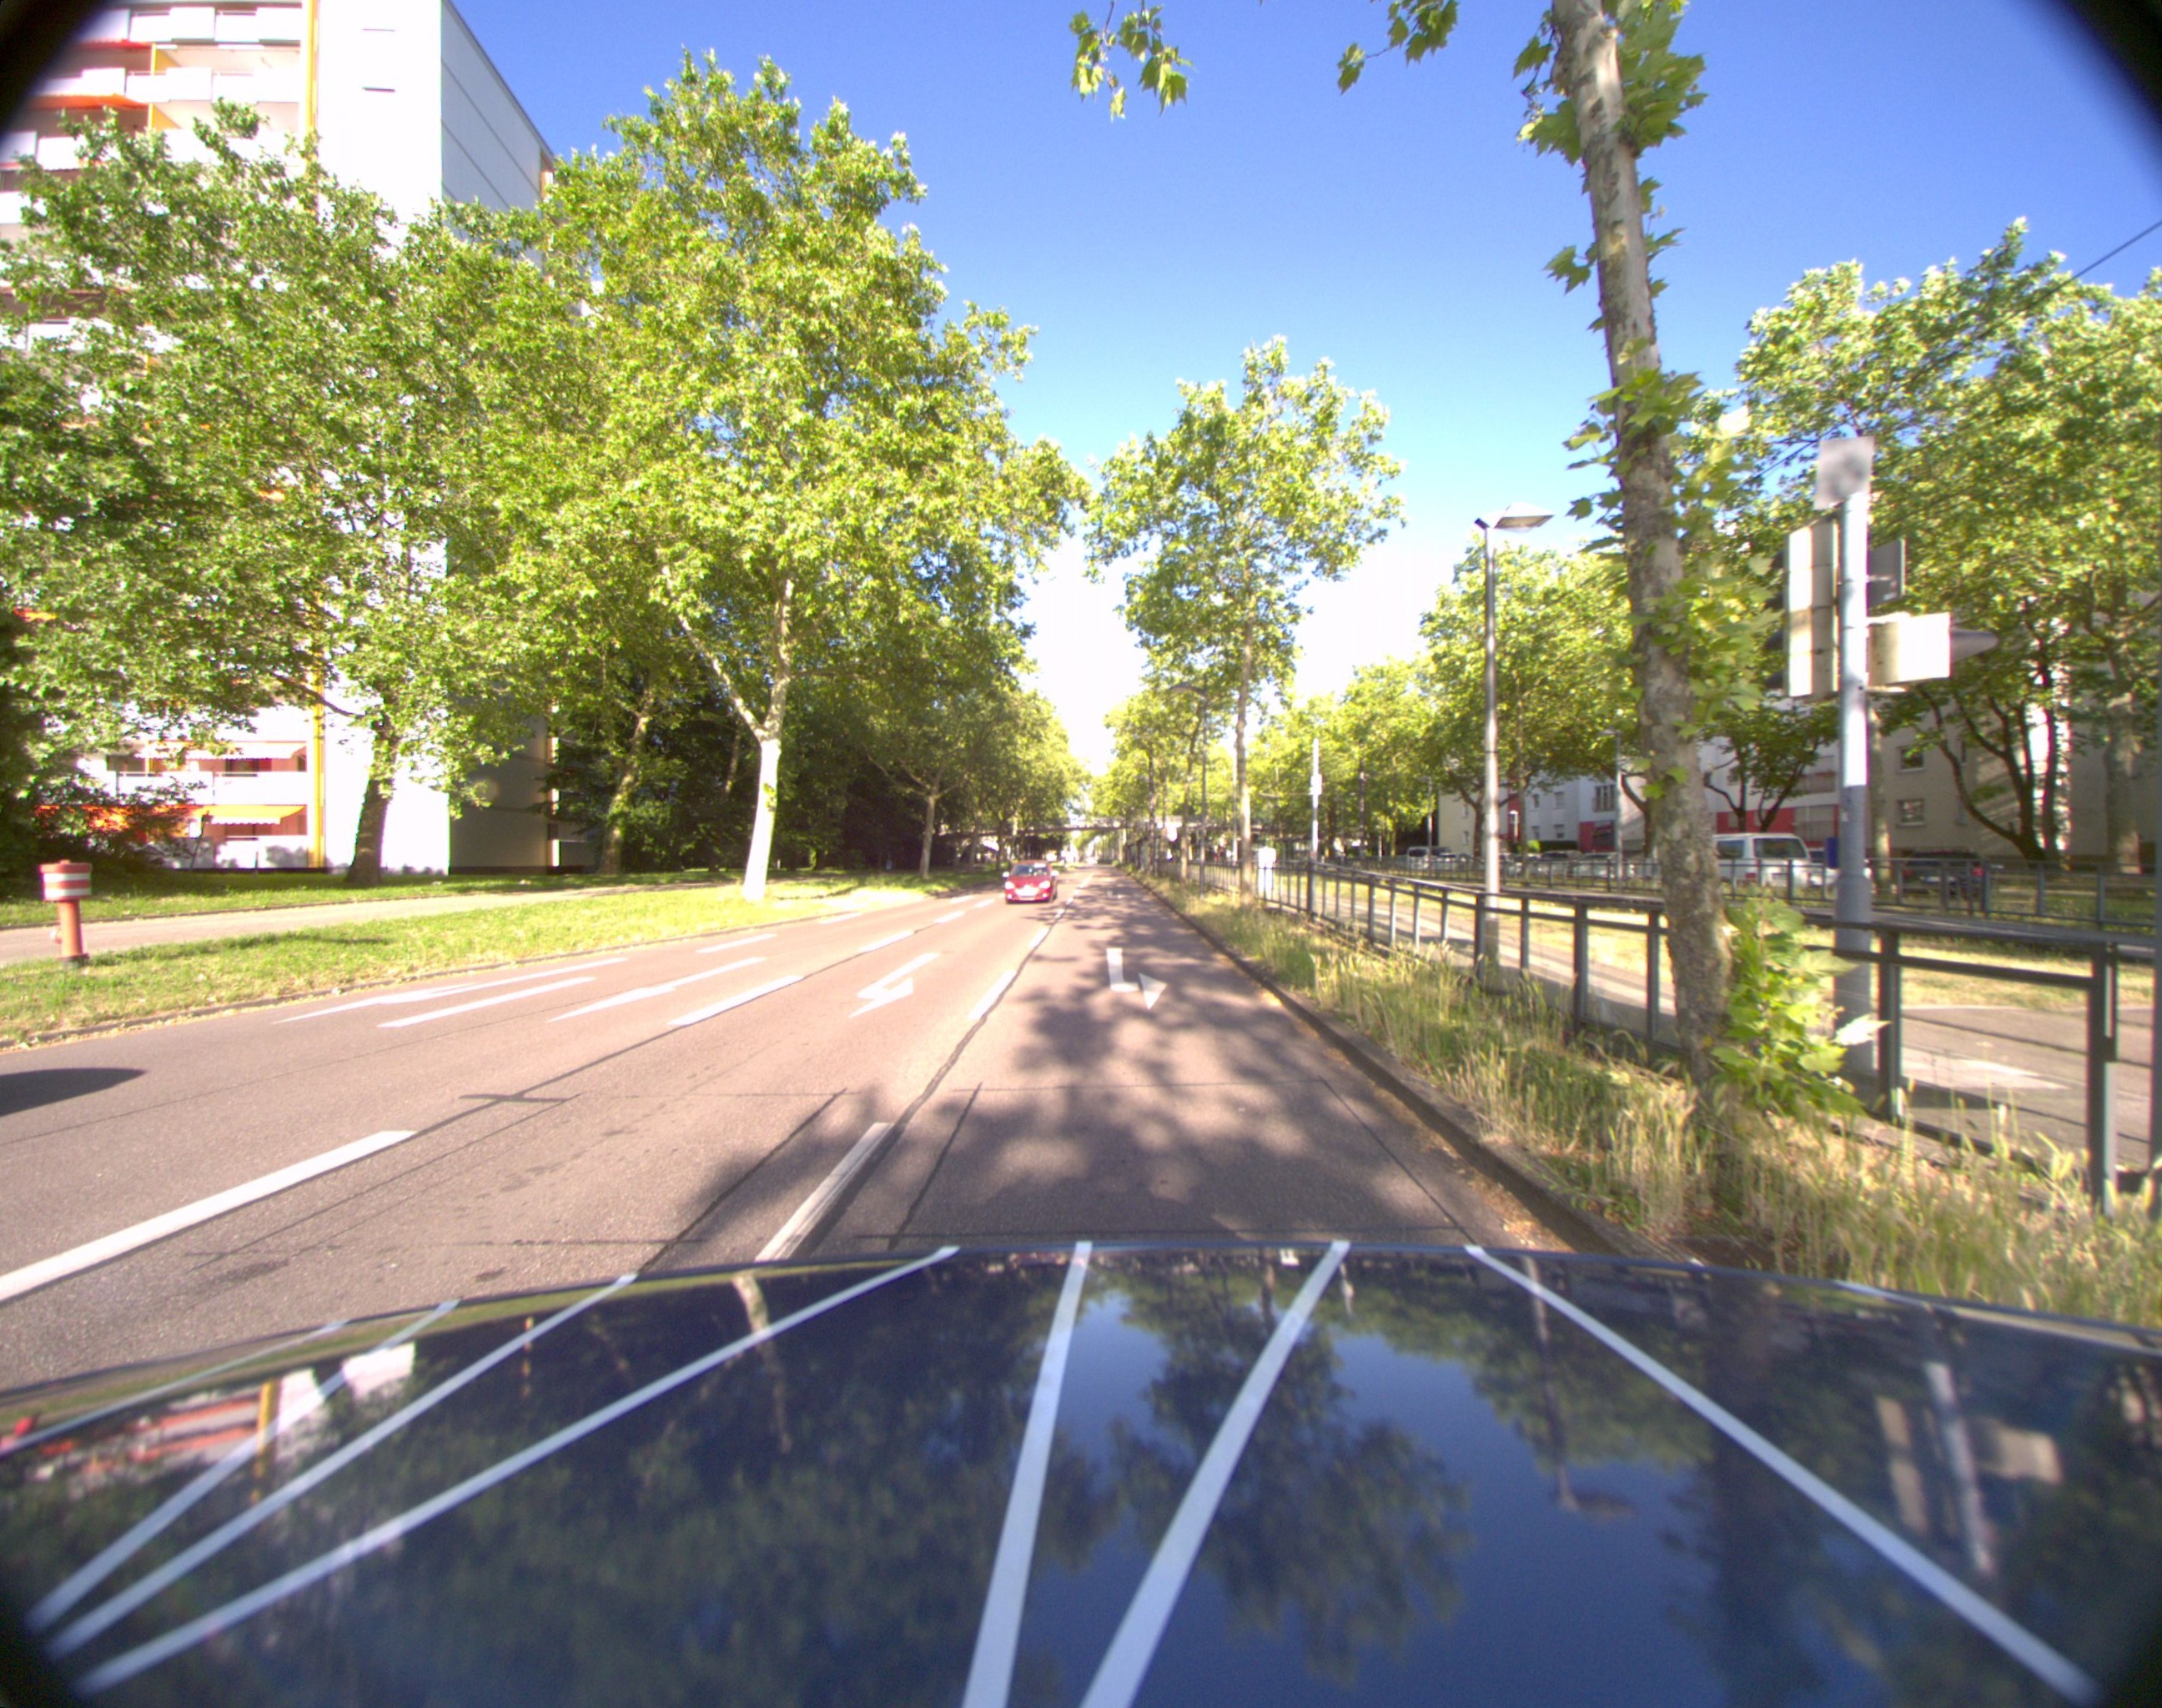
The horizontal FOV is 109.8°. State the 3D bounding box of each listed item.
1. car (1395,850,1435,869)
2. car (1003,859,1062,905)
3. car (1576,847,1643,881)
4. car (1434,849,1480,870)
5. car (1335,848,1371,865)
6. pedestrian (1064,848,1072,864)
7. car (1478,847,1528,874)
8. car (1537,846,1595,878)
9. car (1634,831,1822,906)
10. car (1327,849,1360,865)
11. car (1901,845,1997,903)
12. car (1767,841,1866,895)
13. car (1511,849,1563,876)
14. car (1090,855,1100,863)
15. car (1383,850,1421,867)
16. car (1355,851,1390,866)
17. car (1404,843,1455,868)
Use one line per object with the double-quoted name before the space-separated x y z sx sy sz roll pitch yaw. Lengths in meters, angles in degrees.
"car" 26.050 0.413 59.161 3.494 1.335 1.476 -1 0 -41
"car" -1.662 0.940 27.036 1.646 1.430 3.761 -2 1 3
"car" 25.616 0.465 36.784 3.890 1.406 1.486 -3 1 -37
"car" 26.140 0.372 52.844 3.494 1.395 1.623 -1 0 -41
"car" 25.998 0.214 72.528 3.835 1.561 1.597 -1 0 -43
"pedestrian" -1.728 0.255 101.586 0.918 2.002 0.962 -2 1 2
"car" 25.912 0.392 46.591 3.494 1.417 1.558 -3 -1 -42
"car" 25.777 0.398 40.370 3.402 1.499 1.461 -3 1 -37
"car" 19.065 0.389 22.717 1.795 1.980 4.653 -1 0 3
"car" 27.161 0.301 78.546 3.742 1.517 1.597 -1 1 -43
"car" 25.154 0.544 21.979 3.770 1.420 1.555 -3 1 -37
"car" 25.003 0.443 25.811 4.007 1.586 1.810 -3 1 -37
"car" 26.244 0.471 43.679 3.493 1.321 1.476 -3 0 -41
"car" 3.101 1.117 169.193 1.798 1.465 3.999 -3 1 -1
"car" 26.544 0.381 62.798 3.494 1.293 1.476 -1 0 -41
"car" 26.432 0.387 68.812 3.494 1.312 1.476 -1 0 -41
"car" 25.694 0.091 55.934 4.056 1.802 1.864 -1 0 -41
